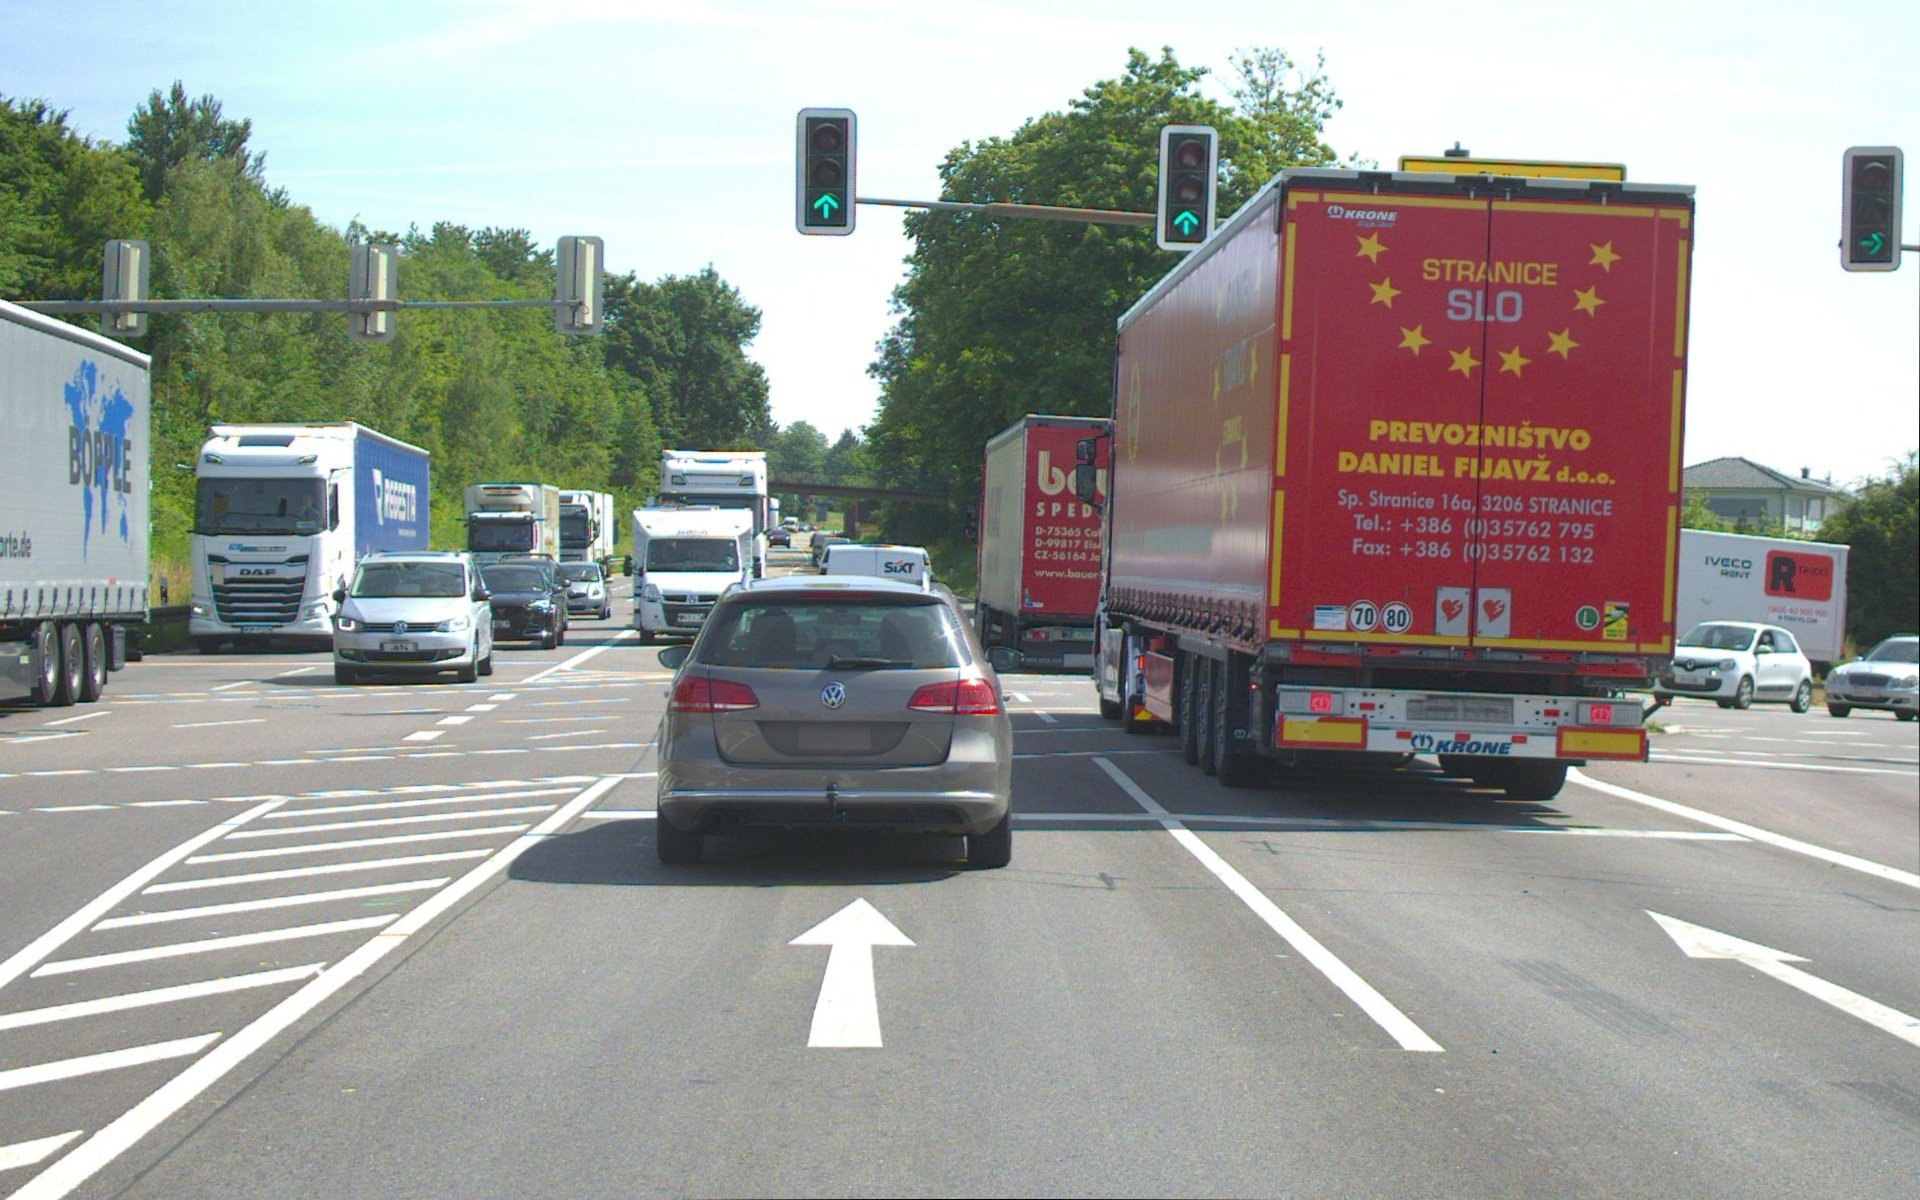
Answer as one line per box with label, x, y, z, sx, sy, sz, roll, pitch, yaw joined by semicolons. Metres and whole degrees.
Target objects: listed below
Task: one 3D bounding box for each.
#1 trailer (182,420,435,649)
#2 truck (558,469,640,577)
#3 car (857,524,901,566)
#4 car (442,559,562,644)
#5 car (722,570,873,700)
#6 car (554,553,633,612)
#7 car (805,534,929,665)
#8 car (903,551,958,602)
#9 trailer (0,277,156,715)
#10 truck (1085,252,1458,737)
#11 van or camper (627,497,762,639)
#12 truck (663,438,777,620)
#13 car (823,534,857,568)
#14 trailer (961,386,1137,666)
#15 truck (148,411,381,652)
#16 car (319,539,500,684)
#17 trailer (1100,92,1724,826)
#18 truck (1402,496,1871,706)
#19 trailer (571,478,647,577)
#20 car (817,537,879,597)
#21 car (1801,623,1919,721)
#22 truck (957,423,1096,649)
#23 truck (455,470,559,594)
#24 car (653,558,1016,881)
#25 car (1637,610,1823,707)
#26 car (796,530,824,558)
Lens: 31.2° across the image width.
trailer;-12.721;-1.240;68.461;3.093;4.066;14.129;0;1;-3
truck;-14.316;-3.015;136.817;2.829;4.102;9.684;0;1;-4
car;-3.945;-2.654;167.353;1.993;2.007;4.001;0;1;-3
car;-8.275;-0.004;62.353;1.993;1.480;4.455;0;1;-6
car;-2.029;0.395;42.495;1.770;1.508;4.001;0;1;-3
car;-9.525;-0.461;89.509;1.725;1.497;4.000;0;1;-1
car;-1.473;-0.027;53.196;1.770;1.930;3.978;0;1;-3
car;-1.179;-0.934;137.044;1.993;2.007;4.001;0;1;-3
trailer;-10.534;-1.009;34.281;2.691;4.133;13.882;0;1;-4
truck;2.918;-0.982;33.987;2.870;4.266;5.839;2;0;-1
van or camper;-5.092;-0.623;66.778;2.330;2.591;6.979;0;1;-2
truck;-5.608;-1.631;80.354;2.536;4.074;6.267;0;1;-4
car;-7.263;-2.964;207.700;1.993;2.007;4.001;0;1;-3
trailer;1.346;-1.195;58.748;2.395;4.229;13.078;0;1;-1
truck;-12.327;-1.196;61.478;3.187;4.066;6.347;0;1;-3
car;-7.198;0.104;45.352;1.843;1.726;4.589;2;1;-3
trailer;3.022;-0.923;27.520;2.839;4.350;13.168;2;1;-1
truck;14.762;0.042;74.903;9.667;3.616;2.768;6;-1;-19
trailer;-14.851;-3.024;146.011;2.840;4.056;8.757;0;1;-4
car;-3.854;-1.140;117.815;1.993;2.007;4.001;0;1;-3
car;16.529;1.301;59.250;1.998;1.500;4.988;3;-1;38
truck;1.220;-1.202;65.559;2.406;4.113;5.521;0;1;-1
truck;-15.198;-2.250;115.816;2.728;3.985;9.621;0;1;-3
car;-0.703;0.541;18.136;1.691;1.508;4.001;0;1;-3
car;13.633;1.044;60.740;1.709;1.499;3.747;3;-1;38
car;-10.889;-4.066;249.638;1.993;2.007;4.001;0;1;-3
